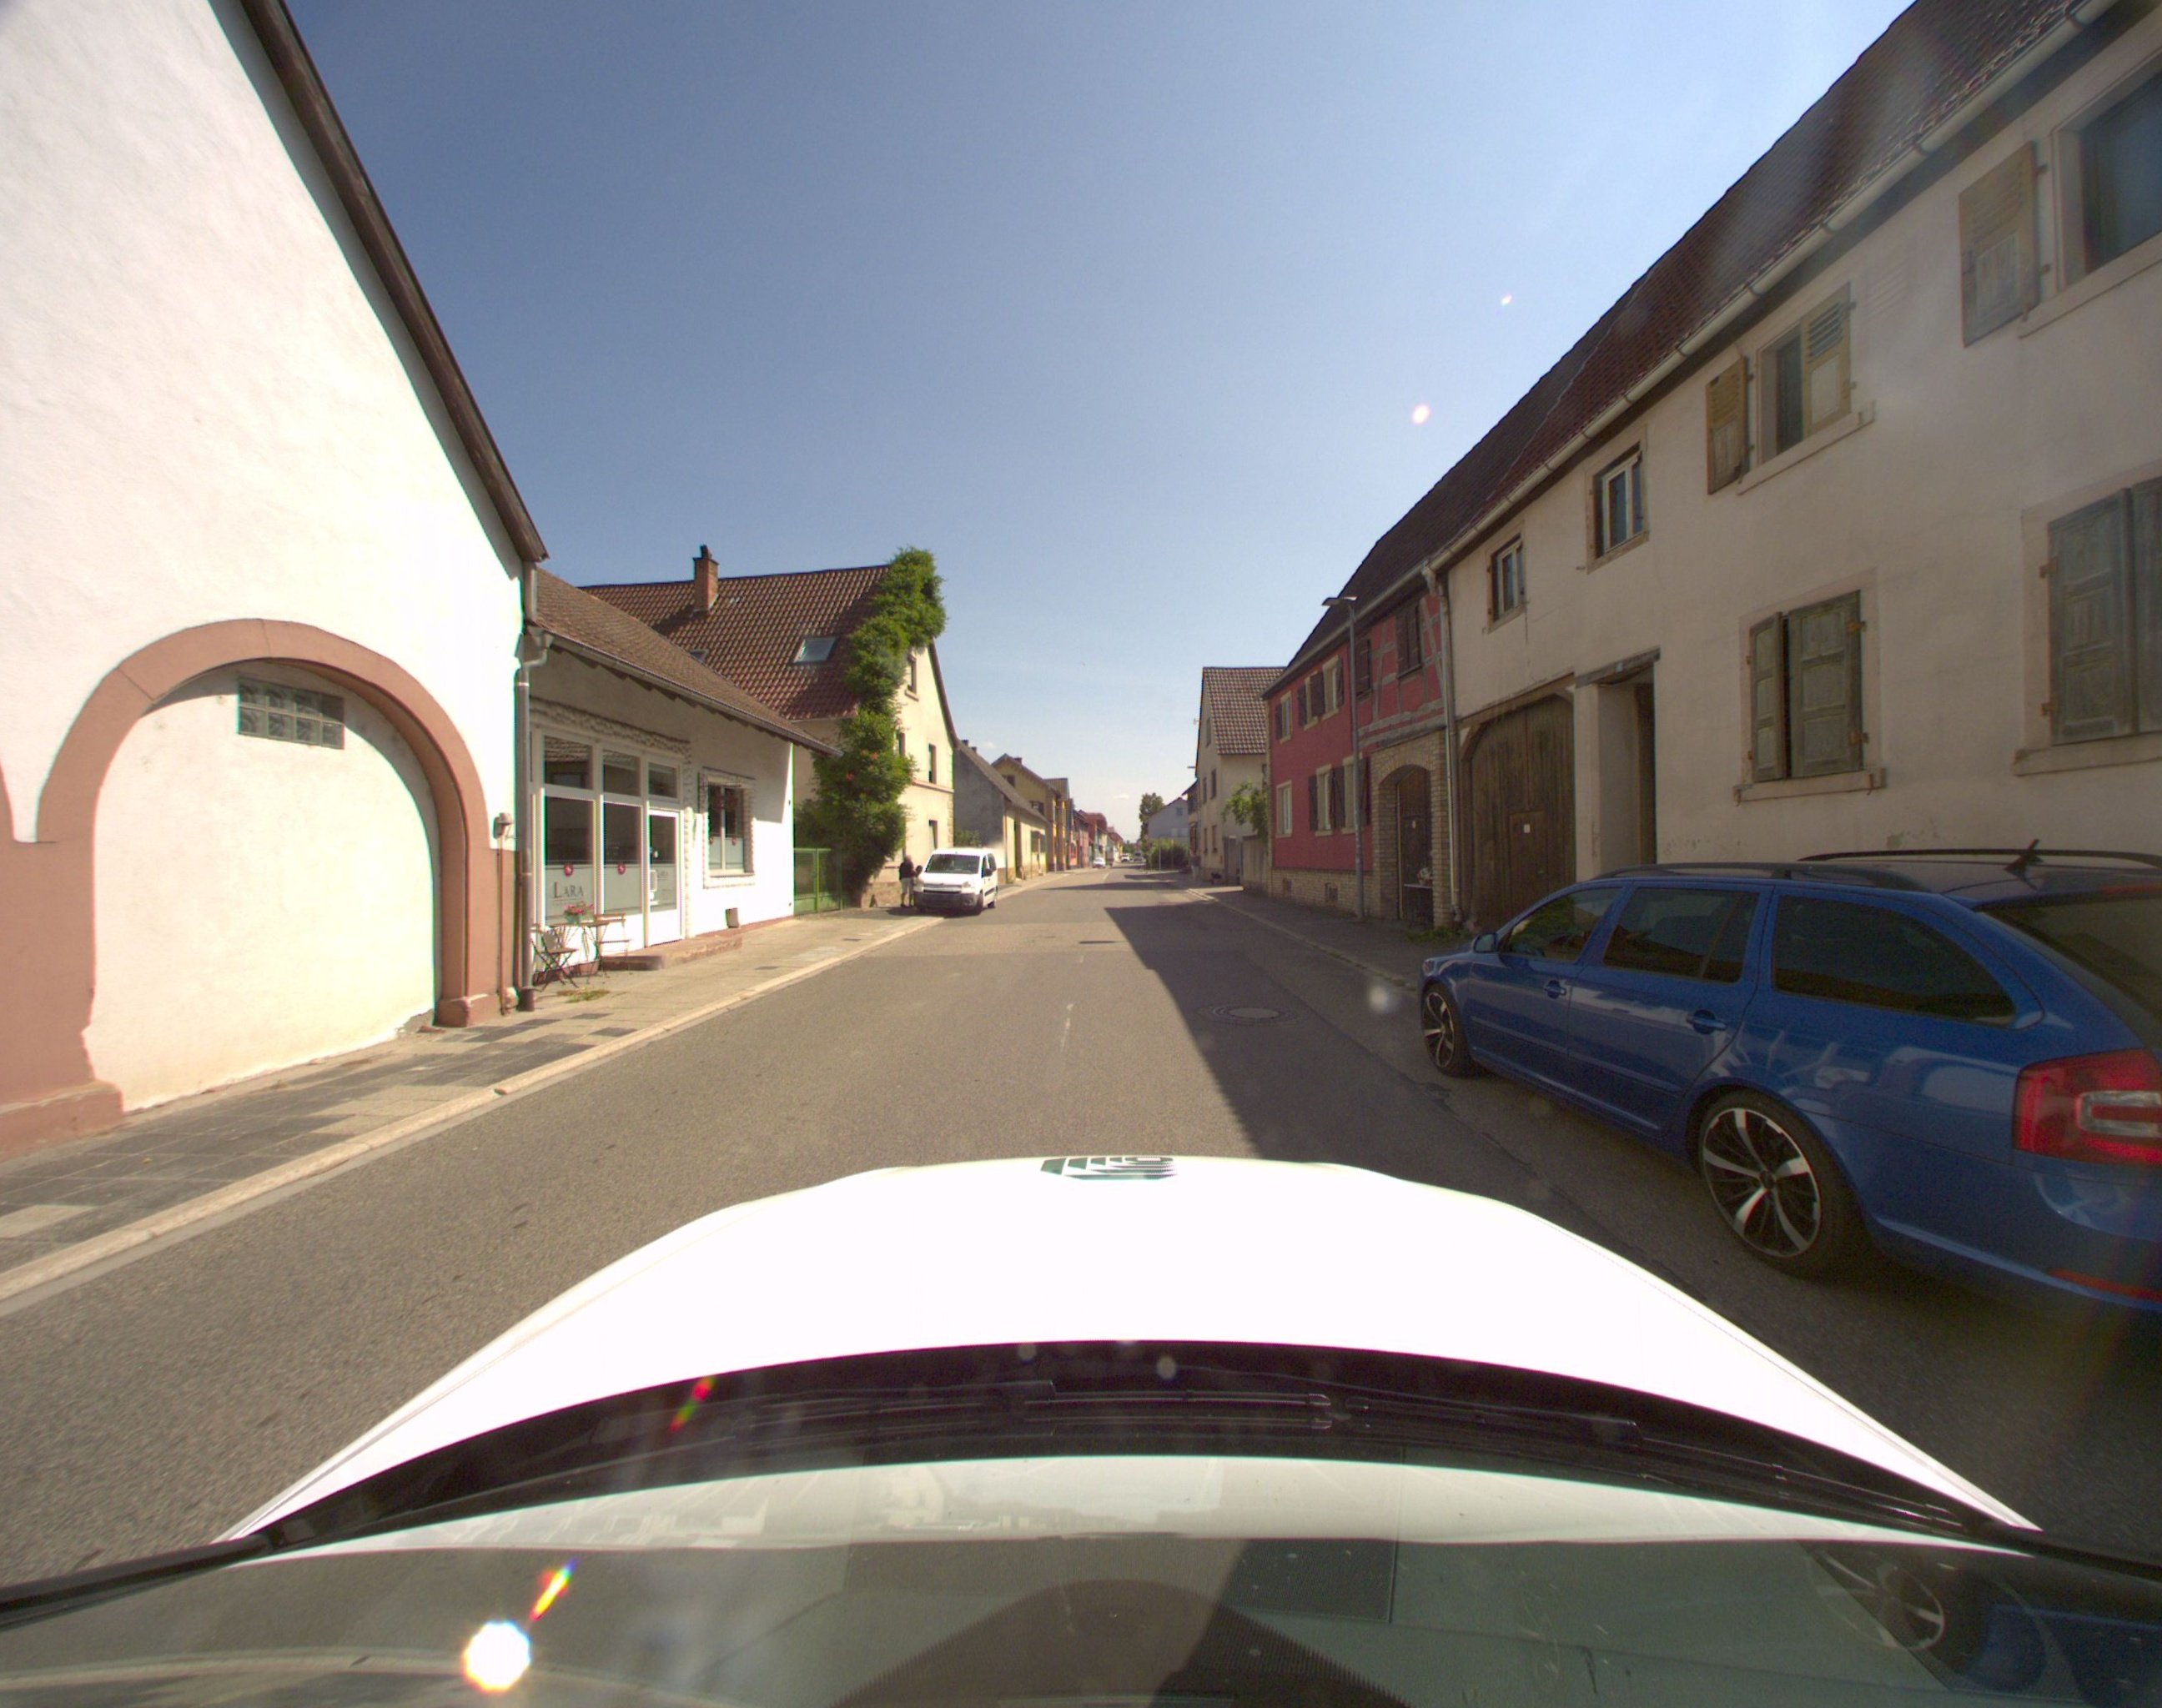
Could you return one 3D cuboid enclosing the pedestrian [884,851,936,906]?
[{"bbox_3d":[-4.933,0.691,23.524,1.005,1.552,1.146,0,0,21],"label":"pedestrian"}]

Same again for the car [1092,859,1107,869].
[{"bbox_3d":[2.682,1.419,116.971,1.985,1.442,4.003,-1,0,3],"label":"car"}]

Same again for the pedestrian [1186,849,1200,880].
[{"bbox_3d":[6.018,0.570,43.694,0.715,1.664,0.894,0,0,6],"label":"pedestrian"}]

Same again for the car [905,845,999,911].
[{"bbox_3d":[-3.470,0.603,22.698,1.849,1.647,4.429,-1,0,0],"label":"car"}]

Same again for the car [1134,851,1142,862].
[{"bbox_3d":[14.457,0.598,206.598,2.009,2.568,4.002,-1,0,2],"label":"car"}]

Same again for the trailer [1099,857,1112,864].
[{"bbox_3d":[4.030,1.130,134.043,1.986,1.090,4.001,-1,0,1],"label":"trailer"}]

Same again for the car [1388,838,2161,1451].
[{"bbox_3d":[3.312,0.708,4.227,1.693,1.469,4.408,-2,0,-1],"label":"car"}]

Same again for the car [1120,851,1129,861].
[{"bbox_3d":[10.161,0.509,190.021,2.150,2.080,4.001,-1,-2,2],"label":"car"}]
